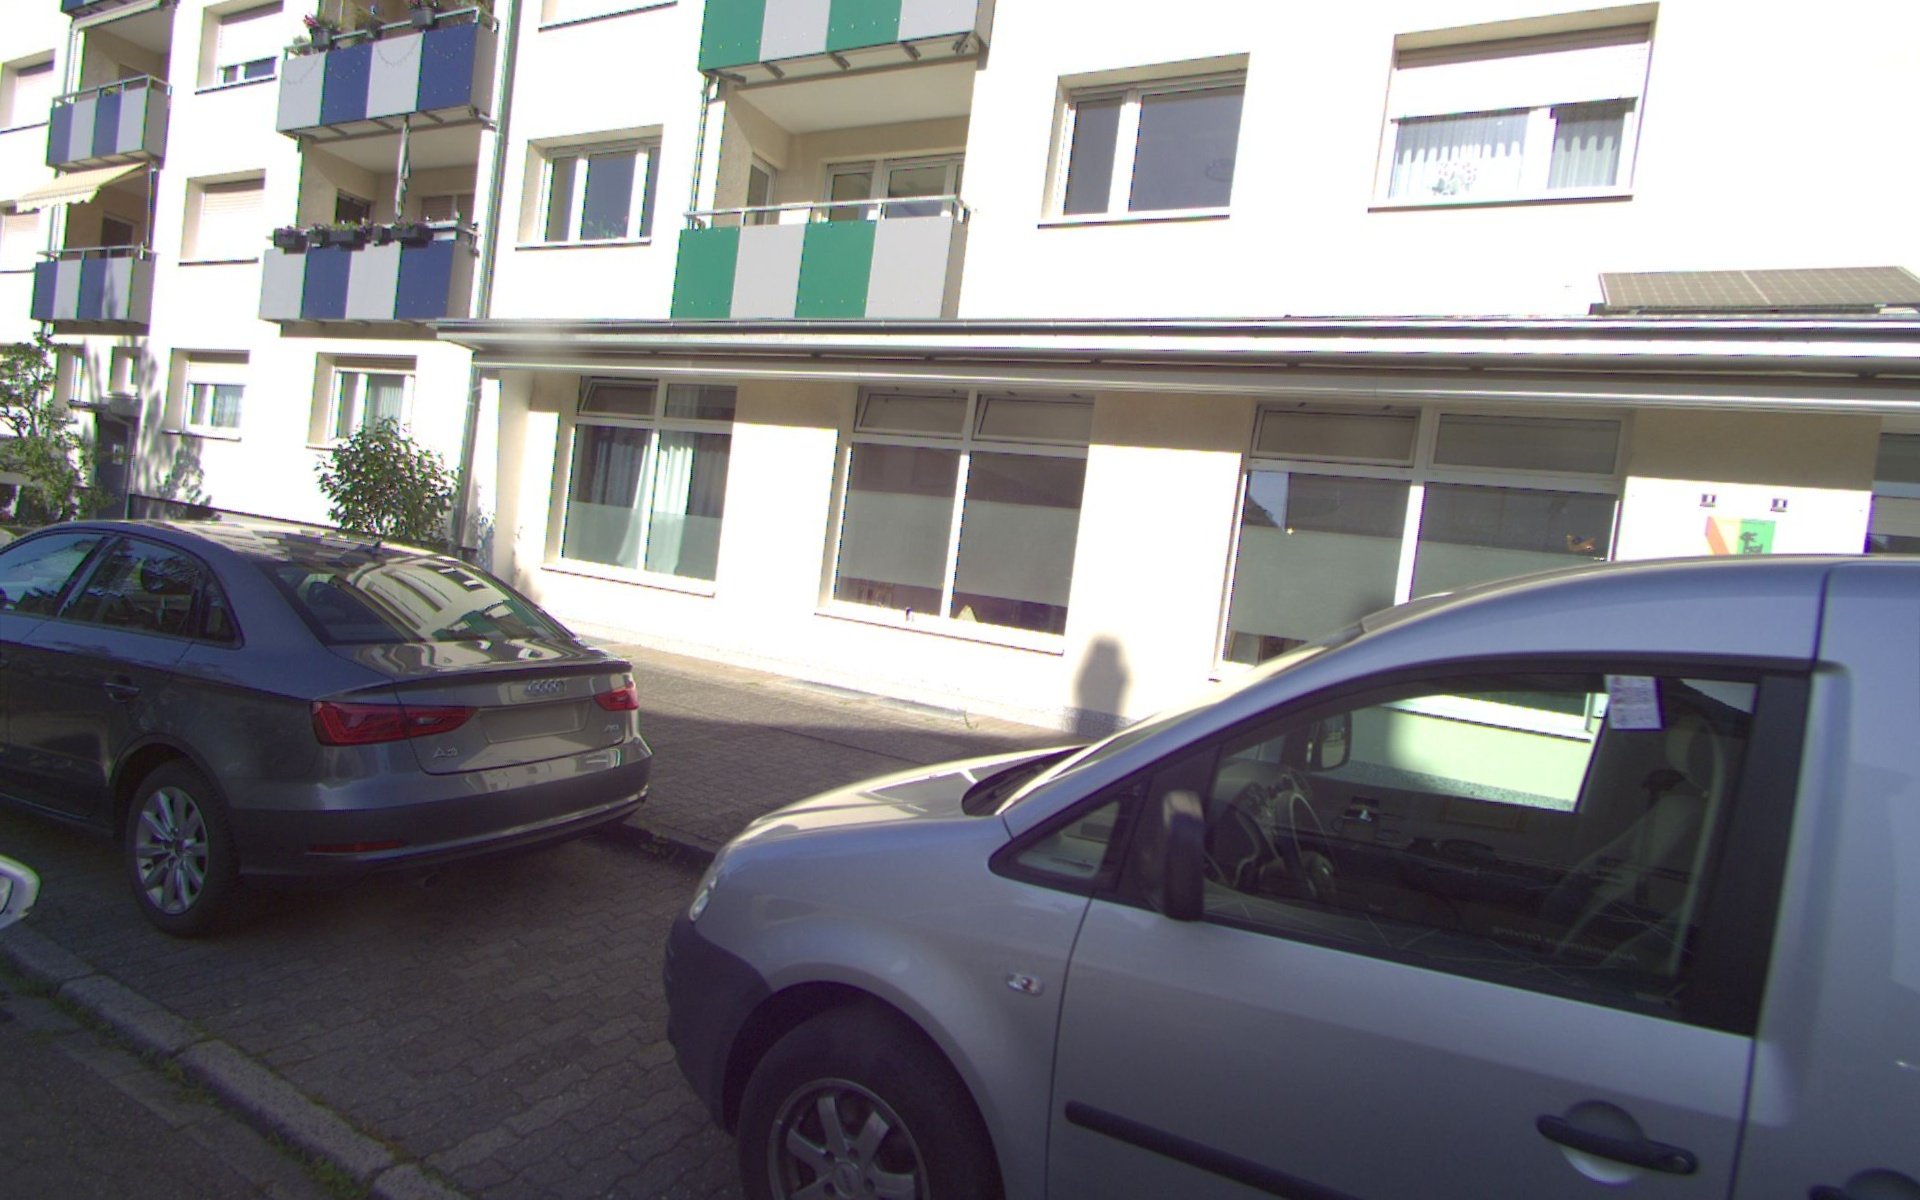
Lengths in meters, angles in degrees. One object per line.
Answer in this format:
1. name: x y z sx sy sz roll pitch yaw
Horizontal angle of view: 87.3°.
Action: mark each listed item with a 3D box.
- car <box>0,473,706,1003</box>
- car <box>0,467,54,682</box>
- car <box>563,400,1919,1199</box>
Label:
1. car: -3.581 0.262 4.711 4.463 1.425 1.681 8 2 24
2. car: -8.904 -0.470 7.377 4.639 1.466 1.681 8 2 26
3. car: 1.294 0.701 2.259 4.058 1.850 1.747 8 5 27
